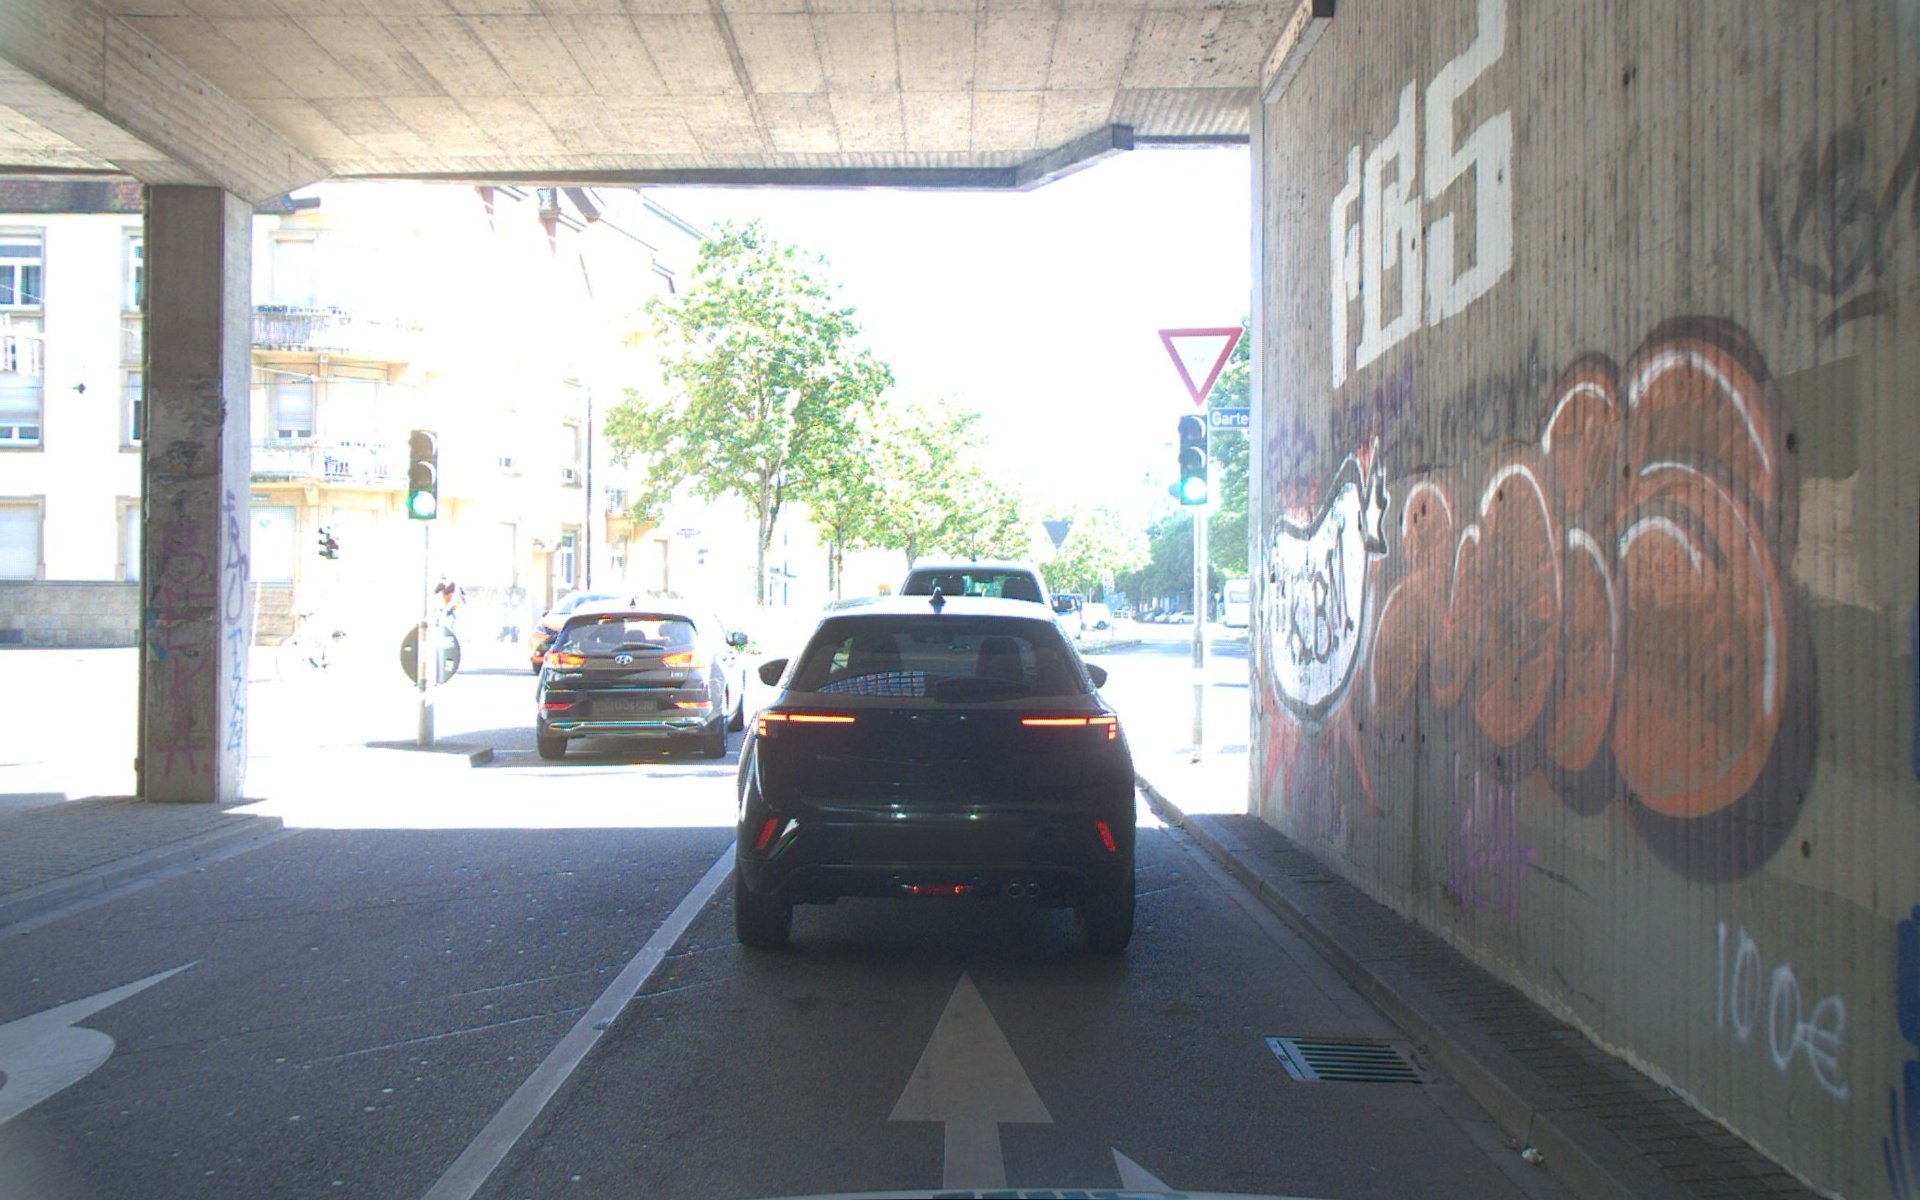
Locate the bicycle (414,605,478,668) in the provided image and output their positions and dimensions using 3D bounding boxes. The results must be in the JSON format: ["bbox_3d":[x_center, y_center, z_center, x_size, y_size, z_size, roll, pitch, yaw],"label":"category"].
[{"bbox_3d":[-9.789,0.680,31.550,0.530,1.142,2.059,0,0,1],"label":"bicycle"}]

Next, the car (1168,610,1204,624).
[{"bbox_3d":[25.833,1.960,189.238,3.865,1.421,1.516,-2,-1,2],"label":"car"}]

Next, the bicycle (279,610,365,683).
[{"bbox_3d":[-10.253,0.730,26.638,0.514,1.109,1.861,0,0,6],"label":"bicycle"}]

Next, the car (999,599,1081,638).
[{"bbox_3d":[5.410,1.255,111.572,5.173,2.590,1.978,0,-1,-15],"label":"car"}]

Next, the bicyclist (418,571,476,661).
[{"bbox_3d":[-9.787,0.297,31.604,0.766,1.689,1.031,0,0,1],"label":"bicyclist"}]

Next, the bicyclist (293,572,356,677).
[{"bbox_3d":[-10.232,0.379,26.641,0.593,1.661,0.910,0,0,5],"label":"bicyclist"}]

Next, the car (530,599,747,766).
[{"bbox_3d":[-3.158,0.745,17.012,1.766,1.476,4.321,1,0,-6],"label":"car"}]

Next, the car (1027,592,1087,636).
[{"bbox_3d":[3.661,0.524,61.821,1.668,1.539,3.866,-2,-1,12],"label":"car"}]

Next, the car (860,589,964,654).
[{"bbox_3d":[-1.129,0.508,40.950,1.750,1.540,4.120,0,0,10],"label":"car"}]

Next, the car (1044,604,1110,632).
[{"bbox_3d":[9.173,1.379,129.231,4.820,2.120,1.970,0,-1,-24],"label":"car"}]

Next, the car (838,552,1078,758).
[{"bbox_3d":[0.150,0.498,17.544,2.088,1.868,4.943,0,0,5],"label":"car"}]

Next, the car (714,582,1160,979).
[{"bbox_3d":[-0.079,0.716,8.421,1.745,1.544,3.755,1,0,0],"label":"car"}]

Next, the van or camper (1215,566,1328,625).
[{"bbox_3d":[17.236,-0.225,91.776,5.949,2.980,2.577,-2,-1,10],"label":"van or camper"}]

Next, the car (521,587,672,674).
[{"bbox_3d":[-6.449,0.509,29.672,1.622,1.466,3.466,0,0,6],"label":"car"}]
